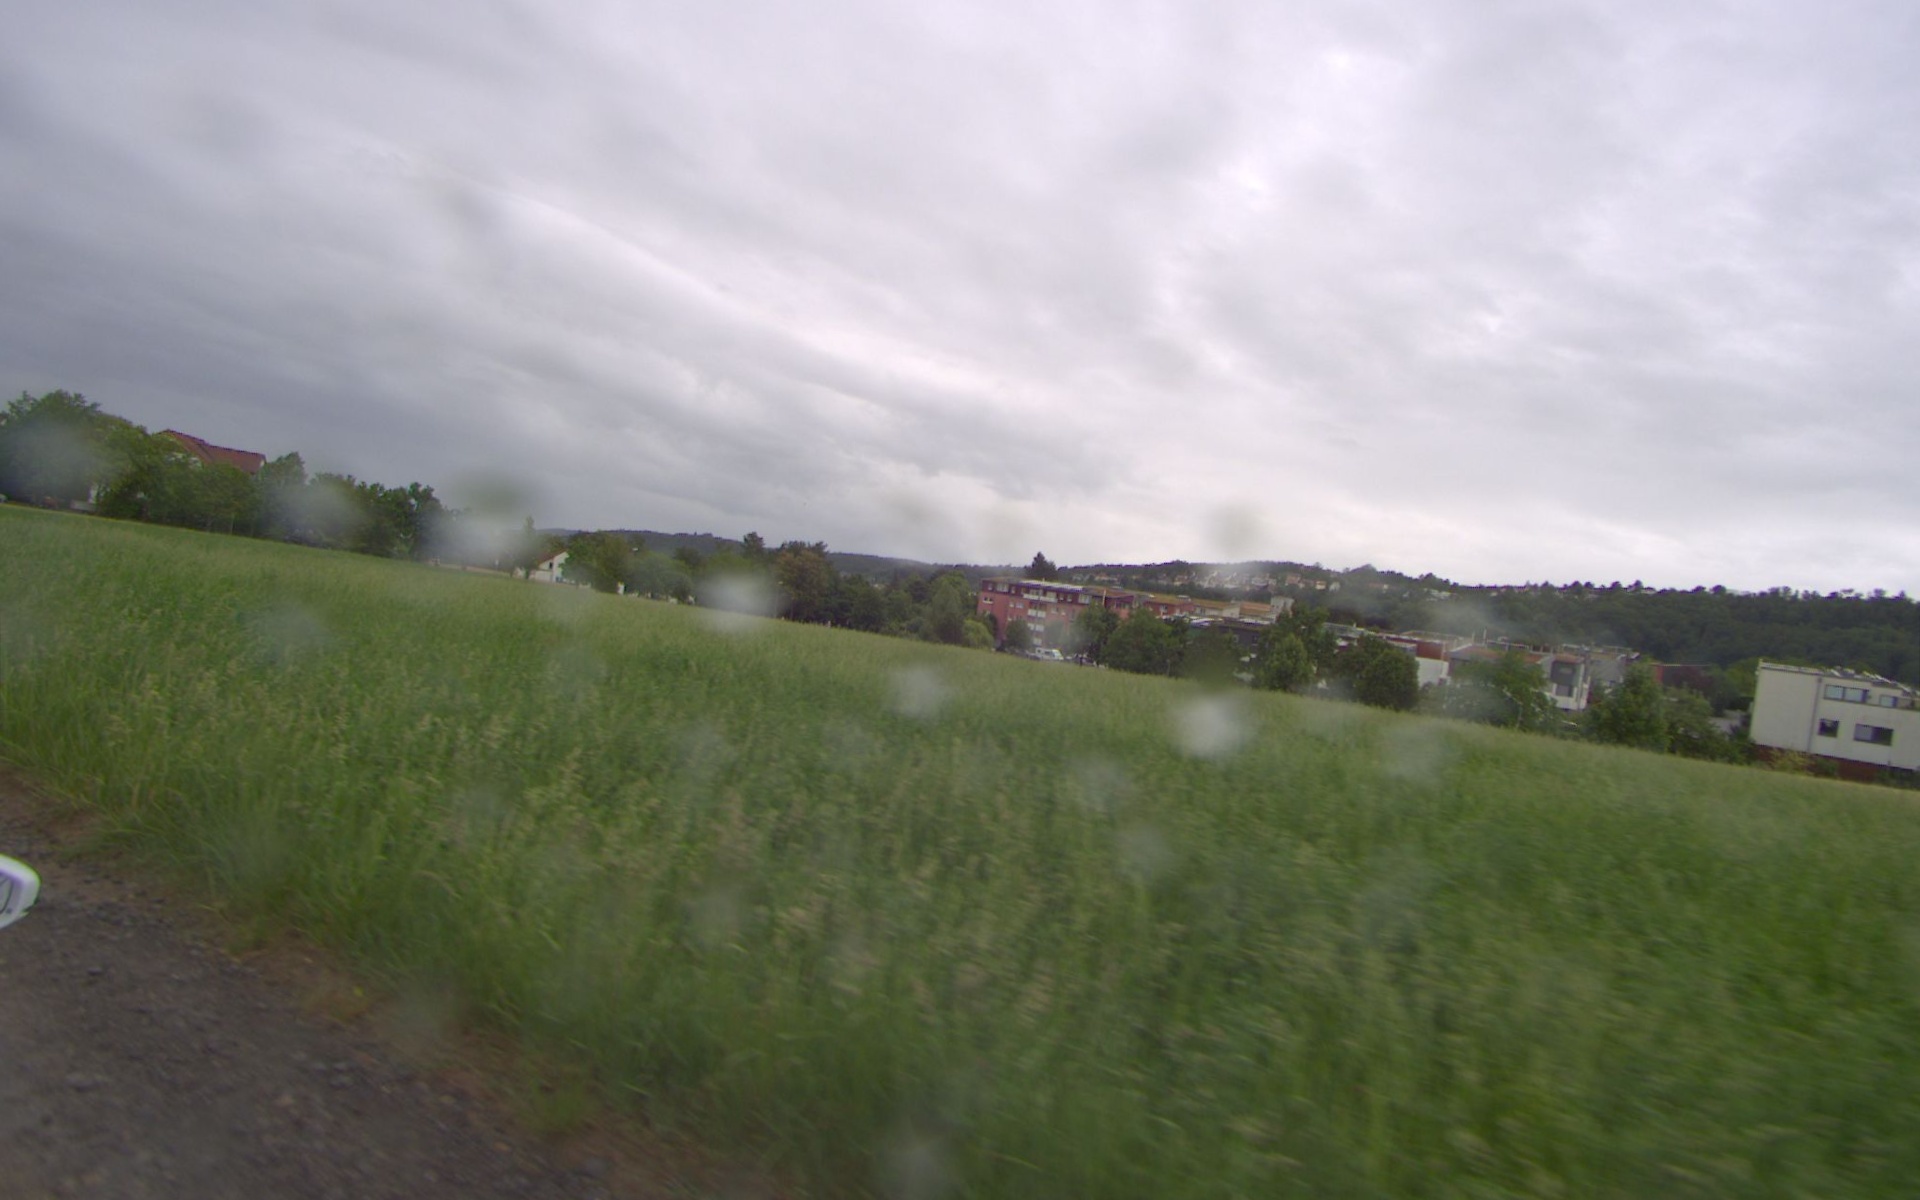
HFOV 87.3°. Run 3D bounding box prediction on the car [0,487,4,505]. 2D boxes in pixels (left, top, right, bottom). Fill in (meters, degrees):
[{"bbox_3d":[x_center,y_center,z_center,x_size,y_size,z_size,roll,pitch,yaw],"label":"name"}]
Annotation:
[{"bbox_3d":[-88.018,-9.558,89.820,1.590,1.582,3.701,6,-2,44],"label":"car"}]
